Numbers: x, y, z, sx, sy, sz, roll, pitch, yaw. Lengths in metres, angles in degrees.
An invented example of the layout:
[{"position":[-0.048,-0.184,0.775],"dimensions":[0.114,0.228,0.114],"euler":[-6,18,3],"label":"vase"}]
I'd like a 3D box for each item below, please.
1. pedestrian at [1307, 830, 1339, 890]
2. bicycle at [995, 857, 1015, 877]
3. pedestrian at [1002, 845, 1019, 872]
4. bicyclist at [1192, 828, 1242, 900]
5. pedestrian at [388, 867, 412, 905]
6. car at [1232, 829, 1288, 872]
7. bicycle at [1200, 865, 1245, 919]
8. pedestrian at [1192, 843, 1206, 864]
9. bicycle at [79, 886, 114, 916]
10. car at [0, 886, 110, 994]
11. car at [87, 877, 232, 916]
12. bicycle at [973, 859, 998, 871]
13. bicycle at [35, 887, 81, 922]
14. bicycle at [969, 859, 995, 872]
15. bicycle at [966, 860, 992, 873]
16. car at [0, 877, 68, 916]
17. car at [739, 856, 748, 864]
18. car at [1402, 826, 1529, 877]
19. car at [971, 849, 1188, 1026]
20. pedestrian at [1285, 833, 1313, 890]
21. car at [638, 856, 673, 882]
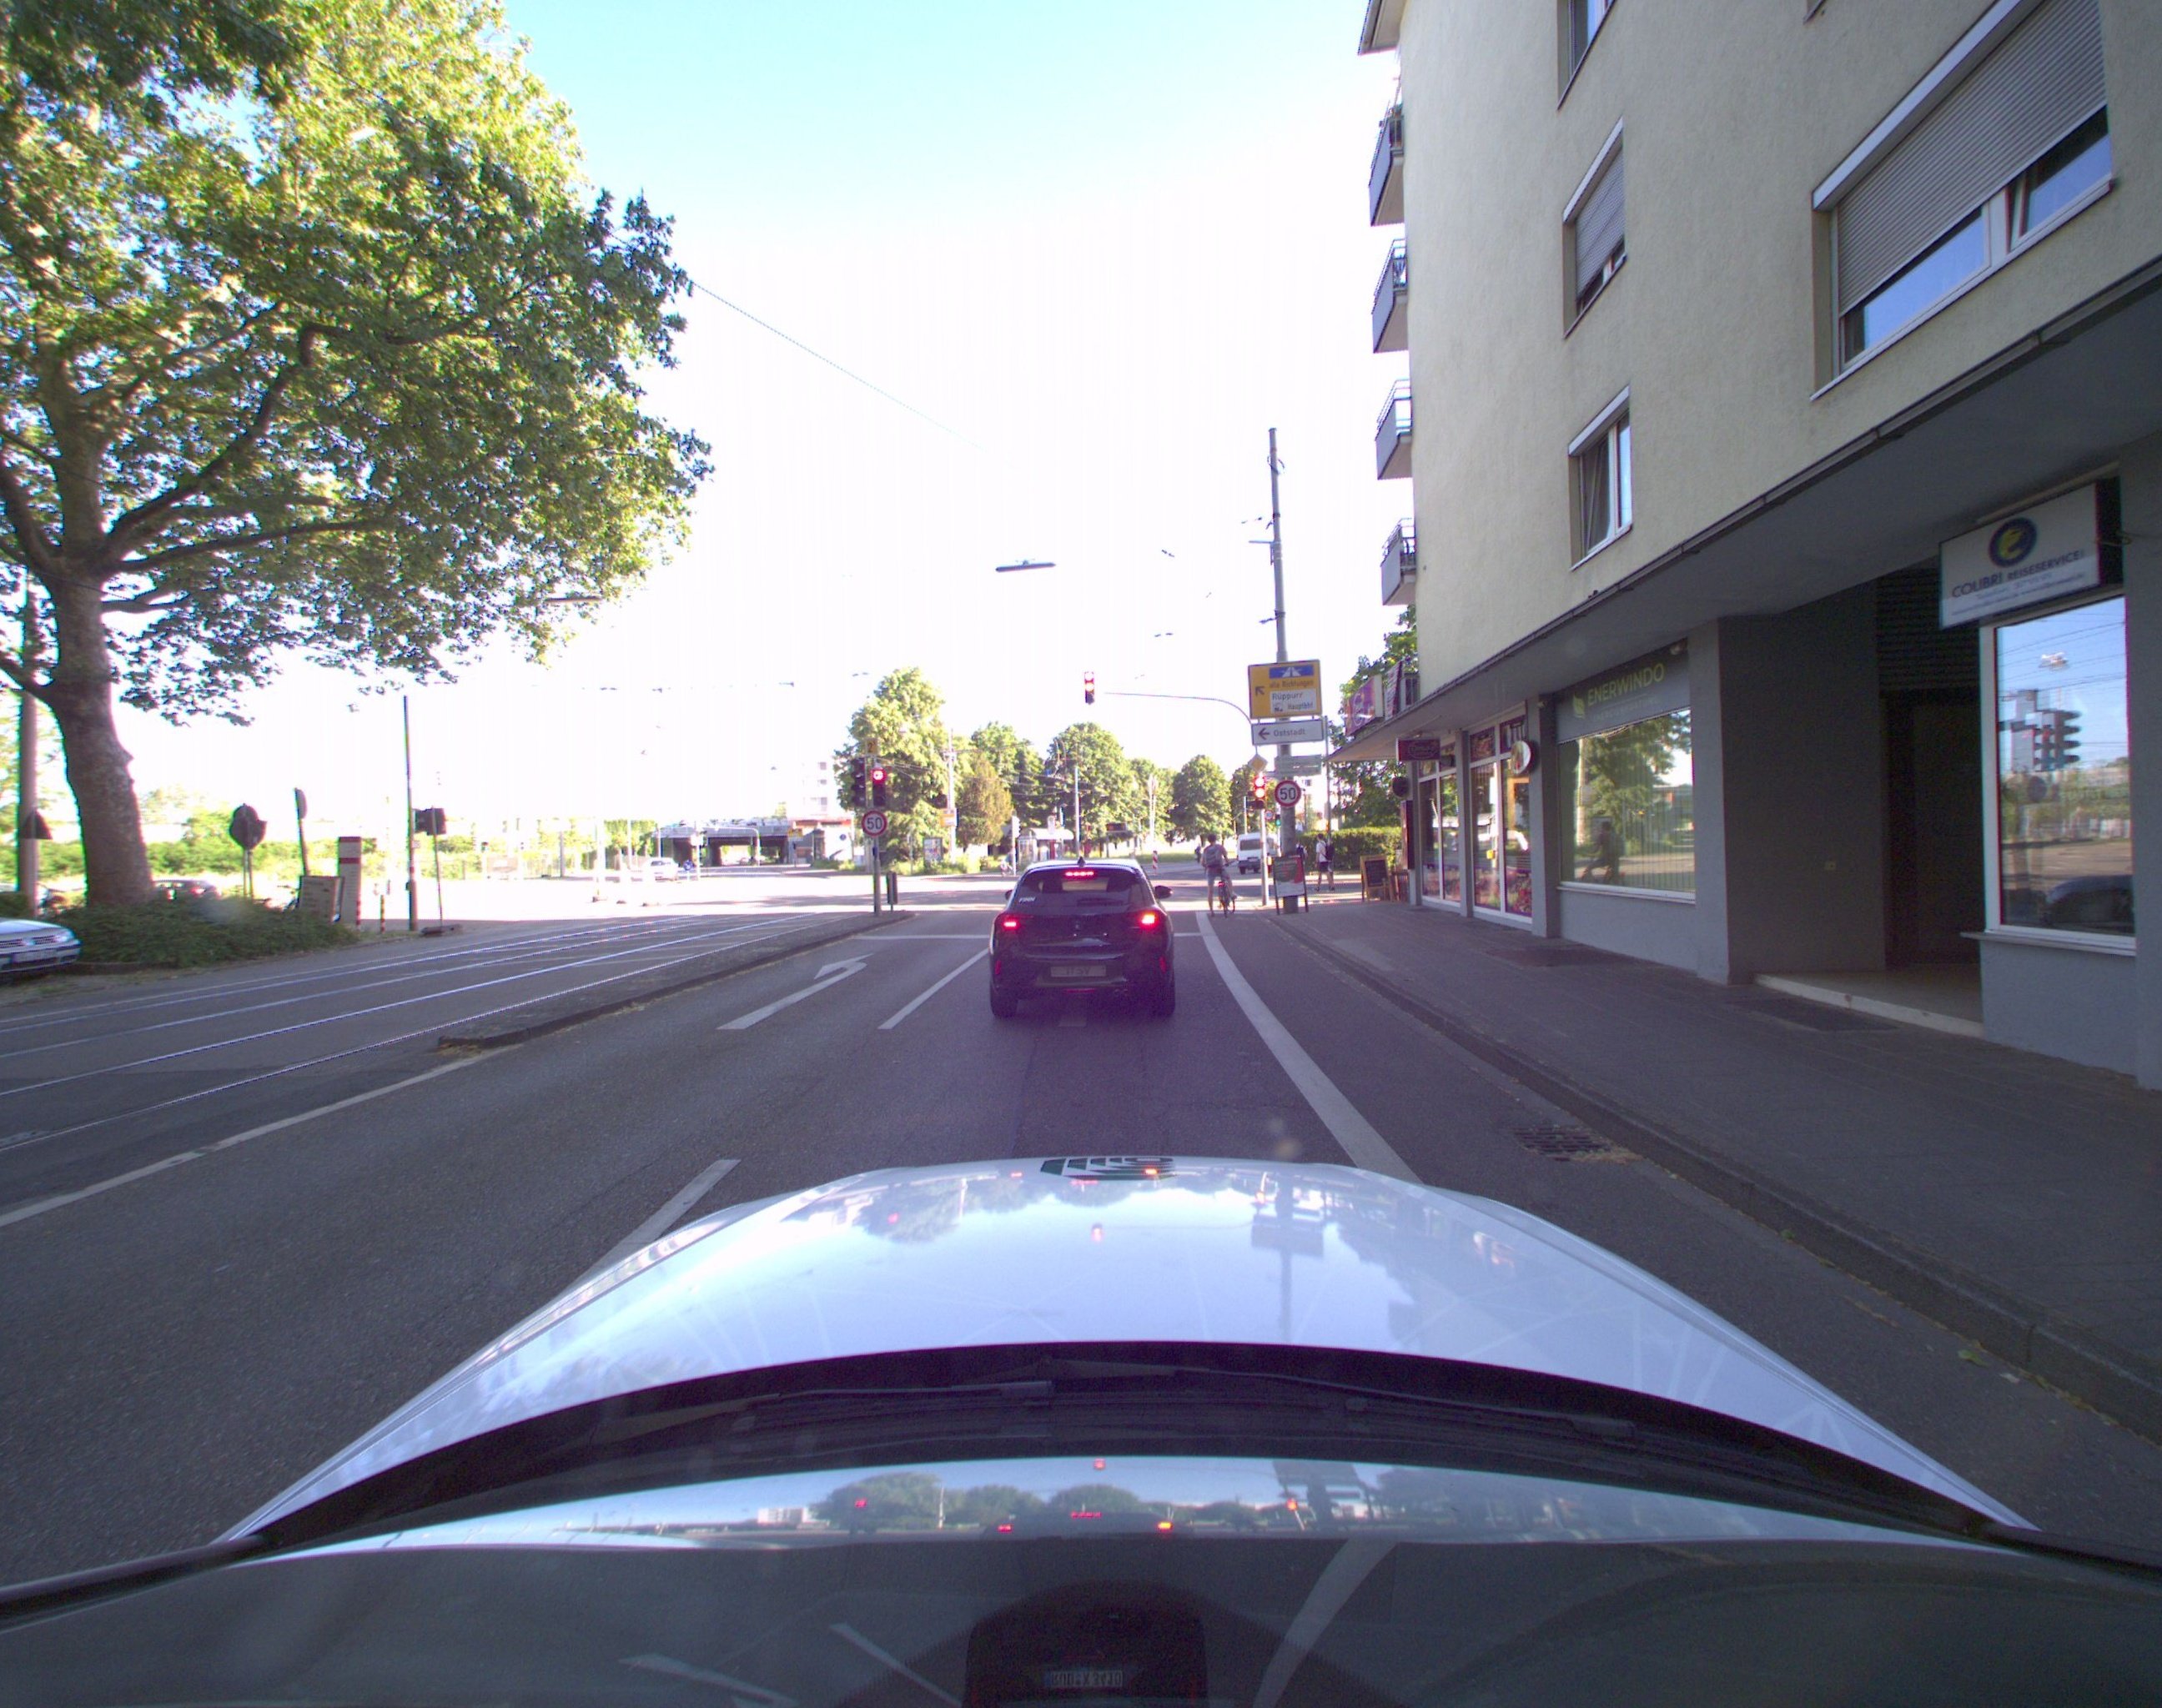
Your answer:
[{"position":[7.616,0.190,25.622],"dimensions":[0.696,1.846,0.705],"euler":[-2,0,41],"label":"pedestrian"},{"position":[-4.367,0.749,46.896],"dimensions":[0.821,1.059,1.885],"euler":[-2,0,4],"label":"bicycle"},{"position":[-4.455,0.259,51.648],"dimensions":[0.718,1.693,0.705],"euler":[-2,0,41],"label":"pedestrian"},{"position":[2.967,0.204,17.843],"dimensions":[0.837,1.510,1.368],"euler":[-2,0,0],"label":"bicyclist"},{"position":[-29.229,1.356,34.963],"dimensions":[0.602,1.596,0.679],"euler":[0,-1,-24],"label":"pedestrian"},{"position":[10.140,-0.174,45.950],"dimensions":[2.070,2.277,4.331],"euler":[-1,-1,26],"label":"car"},{"position":[3.062,0.794,17.826],"dimensions":[0.665,1.059,2.083],"euler":[-2,0,2],"label":"bicycle"},{"position":[10.573,-0.050,72.854],"dimensions":[0.949,1.793,1.002],"euler":[-2,0,27],"label":"pedestrian"},{"position":[-26.373,1.238,21.809],"dimensions":[1.757,0.759,0.360],"euler":[-1,0,32],"label":"bicycle"},{"position":[-16.675,1.203,11.342],"dimensions":[3.980,1.417,1.701],"euler":[0,-1,-5],"label":"car"},{"position":[-43.137,1.961,38.251],"dimensions":[4.006,1.419,1.880],"euler":[-1,6,-25],"label":"car"},{"position":[-7.750,0.927,66.053],"dimensions":[1.866,0.906,0.661],"euler":[-2,0,8],"label":"bicycle"},{"position":[-25.053,1.225,19.960],"dimensions":[0.360,0.759,1.759],"euler":[-2,0,-40],"label":"bicycle"},{"position":[-7.927,0.921,65.186],"dimensions":[1.866,0.906,0.661],"euler":[-2,0,8],"label":"bicycle"},{"position":[-8.053,0.974,64.203],"dimensions":[1.866,0.906,0.661],"euler":[-2,0,8],"label":"bicycle"},{"position":[-48.402,1.927,36.023],"dimensions":[4.006,1.419,1.880],"euler":[-1,6,-25],"label":"car"},{"position":[-86.276,1.588,208.325],"dimensions":[2.003,2.014,3.967],"euler":[0,-1,-25],"label":"car"},{"position":[15.108,-0.060,32.225],"dimensions":[4.150,1.814,1.811],"euler":[-2,-3,10],"label":"car"},{"position":[0.101,0.697,8.834],"dimensions":[1.793,1.441,3.943],"euler":[-2,0,3],"label":"car"},{"position":[7.028,0.227,26.265],"dimensions":[0.696,1.792,0.617],"euler":[-2,0,1],"label":"pedestrian"},{"position":[-29.495,1.018,56.329],"dimensions":[2.006,1.631,4.587],"euler":[-2,1,-29],"label":"car"}]
